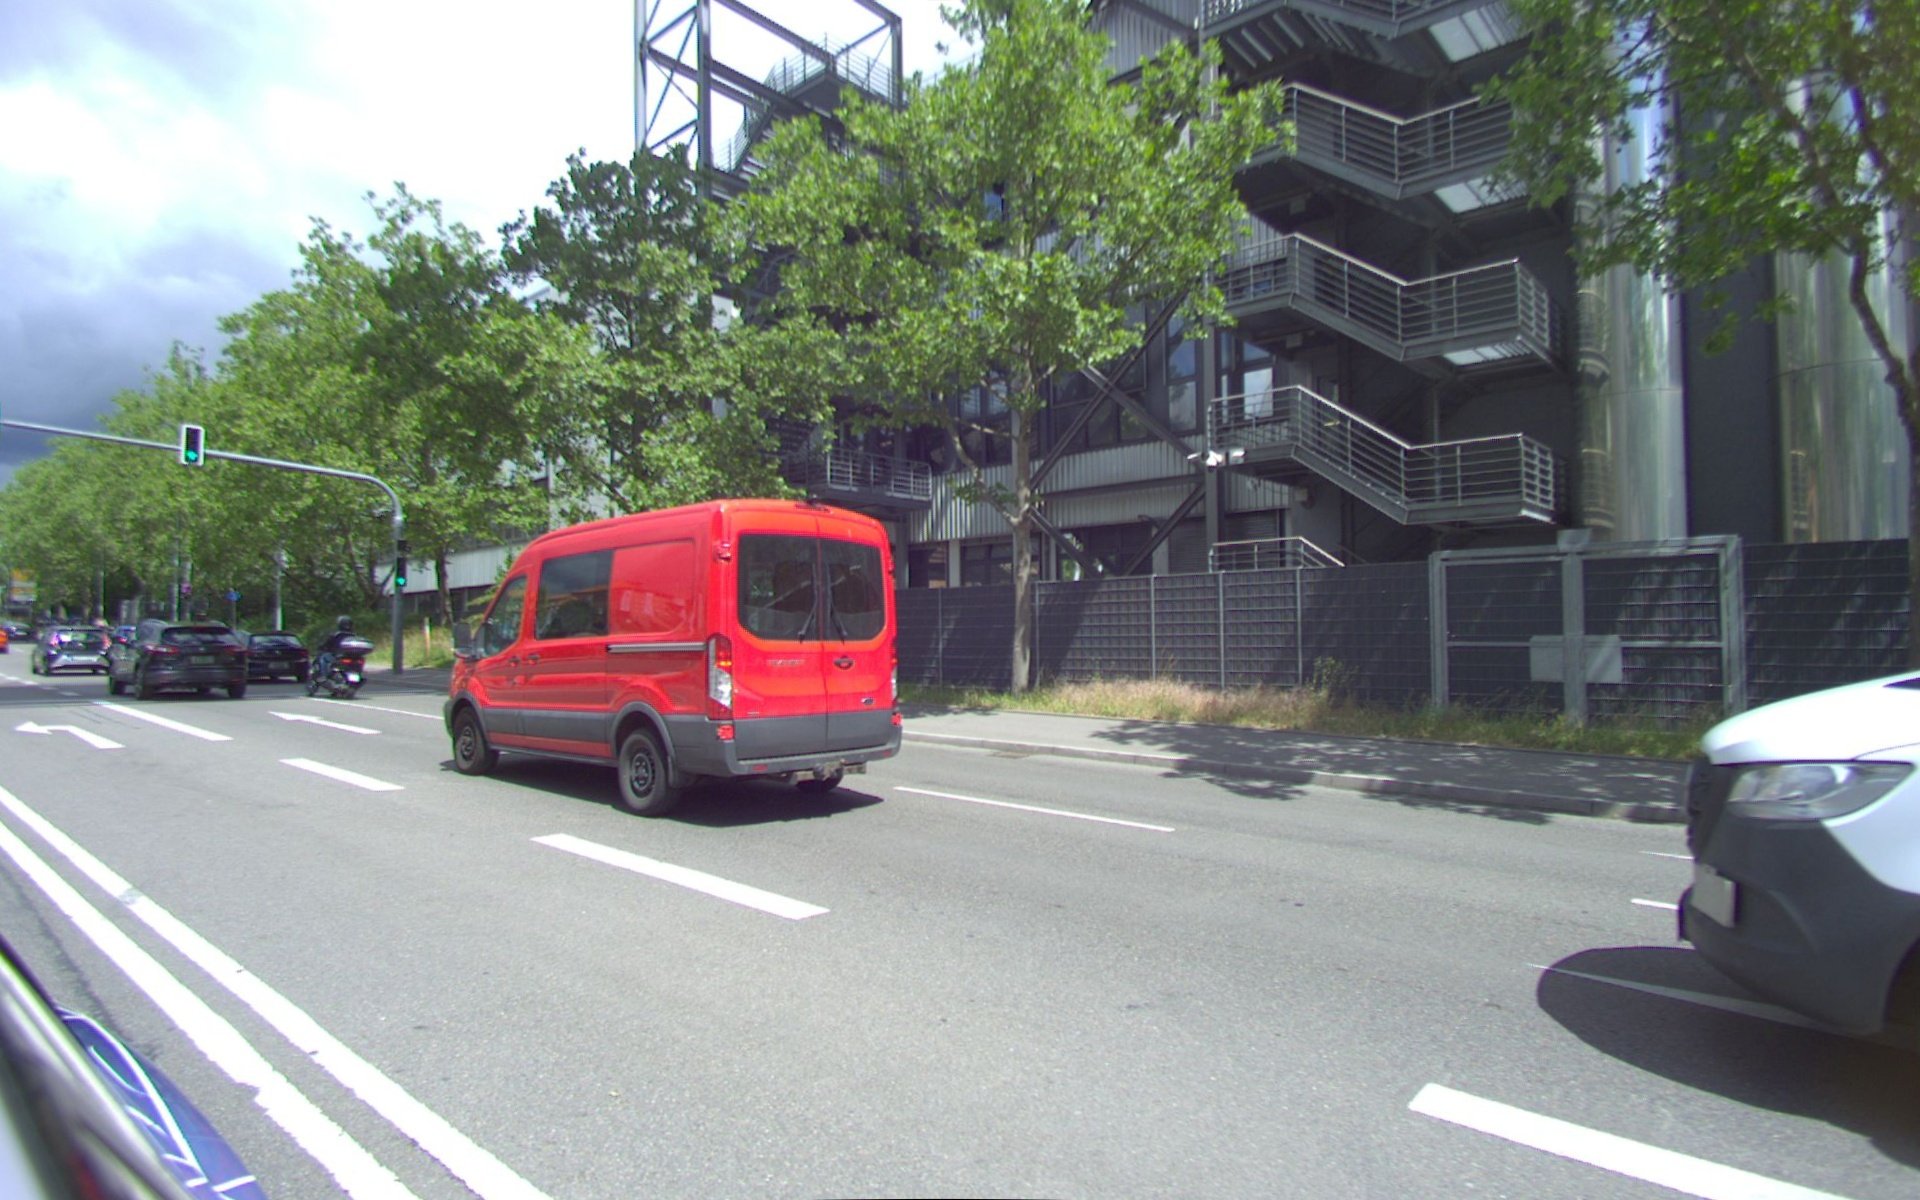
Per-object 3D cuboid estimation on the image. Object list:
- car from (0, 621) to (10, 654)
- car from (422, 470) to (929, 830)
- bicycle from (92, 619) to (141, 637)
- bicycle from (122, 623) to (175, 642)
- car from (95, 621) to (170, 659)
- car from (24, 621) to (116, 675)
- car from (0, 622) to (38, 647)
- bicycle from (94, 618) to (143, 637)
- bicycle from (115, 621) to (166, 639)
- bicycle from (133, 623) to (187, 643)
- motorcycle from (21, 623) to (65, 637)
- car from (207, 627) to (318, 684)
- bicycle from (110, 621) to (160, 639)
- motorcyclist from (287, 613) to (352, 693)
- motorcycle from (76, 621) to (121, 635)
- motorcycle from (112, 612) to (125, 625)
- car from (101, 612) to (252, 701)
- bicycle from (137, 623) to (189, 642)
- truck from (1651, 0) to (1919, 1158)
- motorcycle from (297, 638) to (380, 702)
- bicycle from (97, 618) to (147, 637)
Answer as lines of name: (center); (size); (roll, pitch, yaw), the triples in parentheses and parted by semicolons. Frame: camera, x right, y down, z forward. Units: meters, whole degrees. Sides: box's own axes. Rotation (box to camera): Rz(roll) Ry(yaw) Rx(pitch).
car: (-45.921, 1.714, 47.231); (3.901, 1.465, 1.865); (-1, -3, 41)
car: (-2.983, 0.436, 9.707); (5.478, 2.526, 2.041); (-2, -3, 42)
bicycle: (-57.983, 1.910, 69.610); (0.615, 1.187, 2.529); (-1, 0, 42)
bicycle: (-50.919, 2.023, 63.558); (0.614, 1.093, 2.536); (-1, 0, 33)
car: (-33.191, 1.599, 40.573); (3.819, 1.440, 1.675); (-2, -3, 41)
car: (-26.480, 1.410, 30.066); (3.611, 1.516, 1.541); (-1, -3, 41)
car: (-59.720, 2.159, 63.608); (4.765, 1.465, 1.973); (-1, -3, 40)
bicycle: (-57.428, 1.878, 69.109); (0.615, 1.187, 2.529); (-1, 0, 42)
bicycle: (-52.905, 1.943, 65.339); (0.628, 1.093, 2.527); (-1, 0, 44)
bicycle: (-48.585, 1.989, 61.485); (2.525, 1.093, 0.616); (-1, 0, -43)
motorcycle: (-78.195, 2.561, 86.323); (0.600, 1.044, 2.792); (-5, -3, 44)
car: (-19.227, 1.487, 27.845); (3.918, 1.439, 1.560); (-1, -3, 41)
bicycle: (-54.309, 1.988, 66.612); (2.525, 1.093, 0.616); (-1, 0, -43)
motorcyclist: (-13.448, 1.093, 21.251); (1.090, 1.635, 0.728); (-1, 0, 29)
motorcycle: (-71.458, 2.318, 83.921); (0.600, 1.044, 2.792); (-5, -3, 44)
motorcycle: (-74.243, 1.621, 89.257); (2.590, 1.044, 0.591); (-5, -3, 44)
car: (-16.609, 1.113, 21.390); (4.211, 1.697, 1.718); (-1, -2, 41)
bicycle: (-49.084, 2.013, 62.347); (2.524, 1.093, 0.616); (-1, 0, -42)
truck: (5.615, -0.101, 1.581); (7.241, 3.153, 2.426); (-1, -3, 42)
motorcycle: (-12.962, 1.424, 21.071); (2.373, 1.229, 0.668); (-1, 0, 38)
bicycle: (-56.766, 1.874, 68.570); (0.615, 1.187, 2.529); (-1, 0, 42)
